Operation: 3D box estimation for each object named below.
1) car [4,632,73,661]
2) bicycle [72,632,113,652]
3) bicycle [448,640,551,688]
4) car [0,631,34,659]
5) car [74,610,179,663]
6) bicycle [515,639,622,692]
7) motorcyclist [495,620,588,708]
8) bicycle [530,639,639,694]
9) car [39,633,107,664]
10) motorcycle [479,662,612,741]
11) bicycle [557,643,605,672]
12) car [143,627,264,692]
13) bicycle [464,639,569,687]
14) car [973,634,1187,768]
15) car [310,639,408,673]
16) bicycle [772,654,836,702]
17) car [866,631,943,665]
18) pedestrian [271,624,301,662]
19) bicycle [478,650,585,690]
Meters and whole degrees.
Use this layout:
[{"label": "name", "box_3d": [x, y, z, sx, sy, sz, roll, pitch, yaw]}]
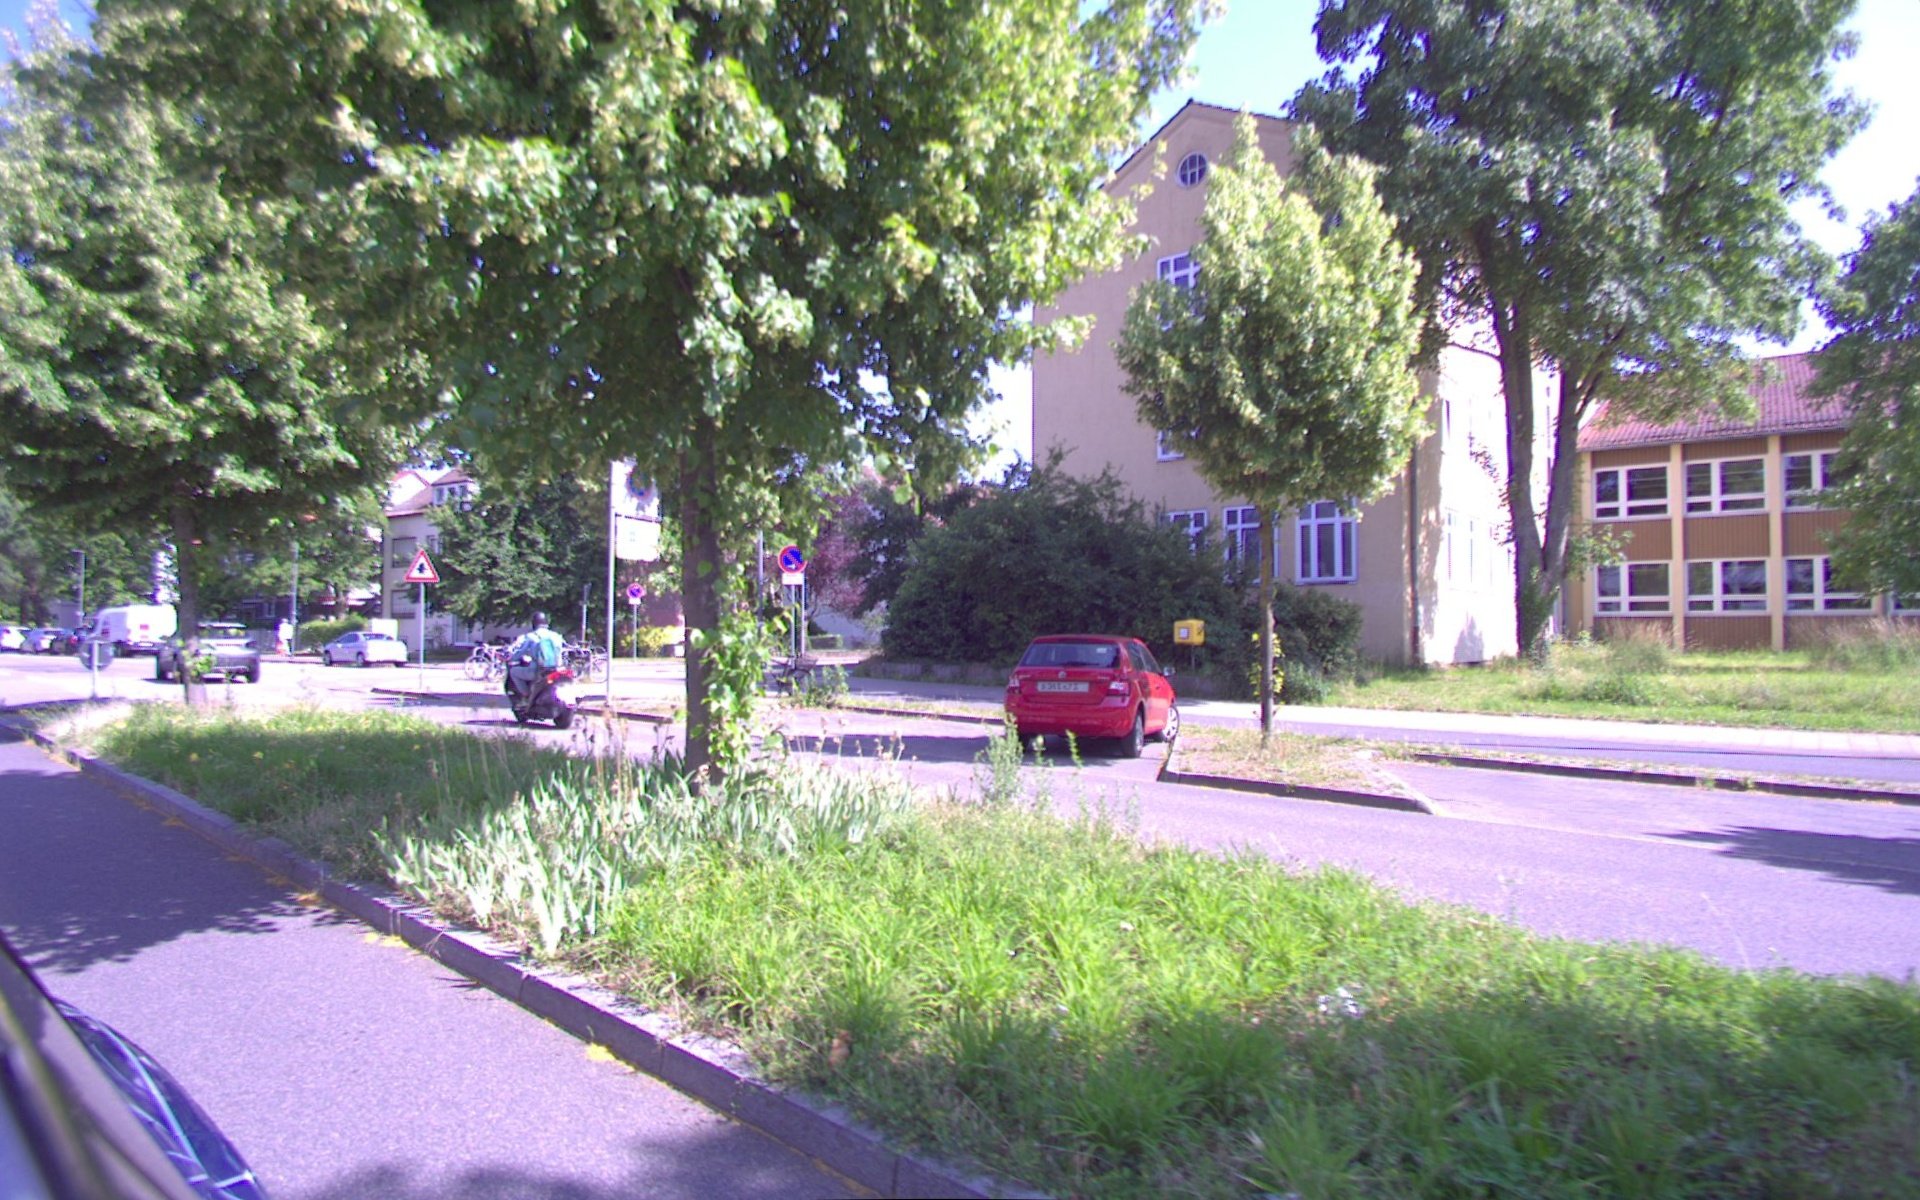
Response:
[{"label": "car", "box_3d": [-51.116, 2.574, 56.106, 4.659, 1.571, 1.706, -2, -4, 34]}, {"label": "bicycle", "box_3d": [-61.681, 2.998, 71.961, 0.501, 1.394, 2.157, -2, -4, 29]}, {"label": "bicycle", "box_3d": [-12.755, 1.761, 28.130, 0.738, 1.266, 2.520, -2, -4, 38]}, {"label": "car", "box_3d": [-56.341, 2.667, 59.623, 3.989, 1.571, 1.706, -2, -4, 34]}, {"label": "car", "box_3d": [-41.687, 1.851, 50.569, 5.929, 2.516, 2.074, -2, -4, 30]}, {"label": "bicycle", "box_3d": [-9.956, 1.661, 25.846, 0.738, 1.266, 2.490, -2, -4, 38]}, {"label": "motorcyclist", "box_3d": [-6.143, 0.910, 14.850, 1.061, 1.230, 0.891, -2, -2, 42]}, {"label": "bicycle", "box_3d": [-9.307, 1.626, 25.211, 0.738, 1.266, 2.520, -2, -2, 38]}, {"label": "car", "box_3d": [-46.943, 2.560, 53.551, 3.989, 1.571, 1.706, -2, -4, 34]}, {"label": "motorcycle", "box_3d": [-6.078, 1.440, 14.779, 2.234, 1.000, 0.913, -2, -2, 42]}, {"label": "bicycle", "box_3d": [-14.422, 2.179, 38.520, 1.689, 1.089, 0.378, 0, -2, -8]}, {"label": "car", "box_3d": [-19.838, 1.514, 26.483, 4.072, 1.559, 1.723, -1, -4, 42]}, {"label": "bicycle", "box_3d": [-11.956, 1.702, 27.380, 0.738, 1.249, 2.520, -2, -4, 38]}, {"label": "car", "box_3d": [1.753, 1.235, 13.453, 1.985, 1.478, 3.973, -1, -3, 20]}, {"label": "car", "box_3d": [-23.304, 2.160, 39.226, 3.989, 1.276, 1.706, -2, -4, 34]}, {"label": "bicycle", "box_3d": [-3.152, 1.562, 20.377, 1.268, 0.910, 0.516, -1, -3, 37]}, {"label": "car", "box_3d": [-2.660, 2.348, 49.541, 1.746, 1.564, 3.746, -2, -3, 38]}, {"label": "pedestrian", "box_3d": [-32.230, 2.040, 48.411, 0.724, 1.793, 0.964, -2, -2, 37]}, {"label": "bicycle", "box_3d": [-11.152, 1.805, 26.460, 0.738, 0.995, 2.520, -2, -4, 38]}]
